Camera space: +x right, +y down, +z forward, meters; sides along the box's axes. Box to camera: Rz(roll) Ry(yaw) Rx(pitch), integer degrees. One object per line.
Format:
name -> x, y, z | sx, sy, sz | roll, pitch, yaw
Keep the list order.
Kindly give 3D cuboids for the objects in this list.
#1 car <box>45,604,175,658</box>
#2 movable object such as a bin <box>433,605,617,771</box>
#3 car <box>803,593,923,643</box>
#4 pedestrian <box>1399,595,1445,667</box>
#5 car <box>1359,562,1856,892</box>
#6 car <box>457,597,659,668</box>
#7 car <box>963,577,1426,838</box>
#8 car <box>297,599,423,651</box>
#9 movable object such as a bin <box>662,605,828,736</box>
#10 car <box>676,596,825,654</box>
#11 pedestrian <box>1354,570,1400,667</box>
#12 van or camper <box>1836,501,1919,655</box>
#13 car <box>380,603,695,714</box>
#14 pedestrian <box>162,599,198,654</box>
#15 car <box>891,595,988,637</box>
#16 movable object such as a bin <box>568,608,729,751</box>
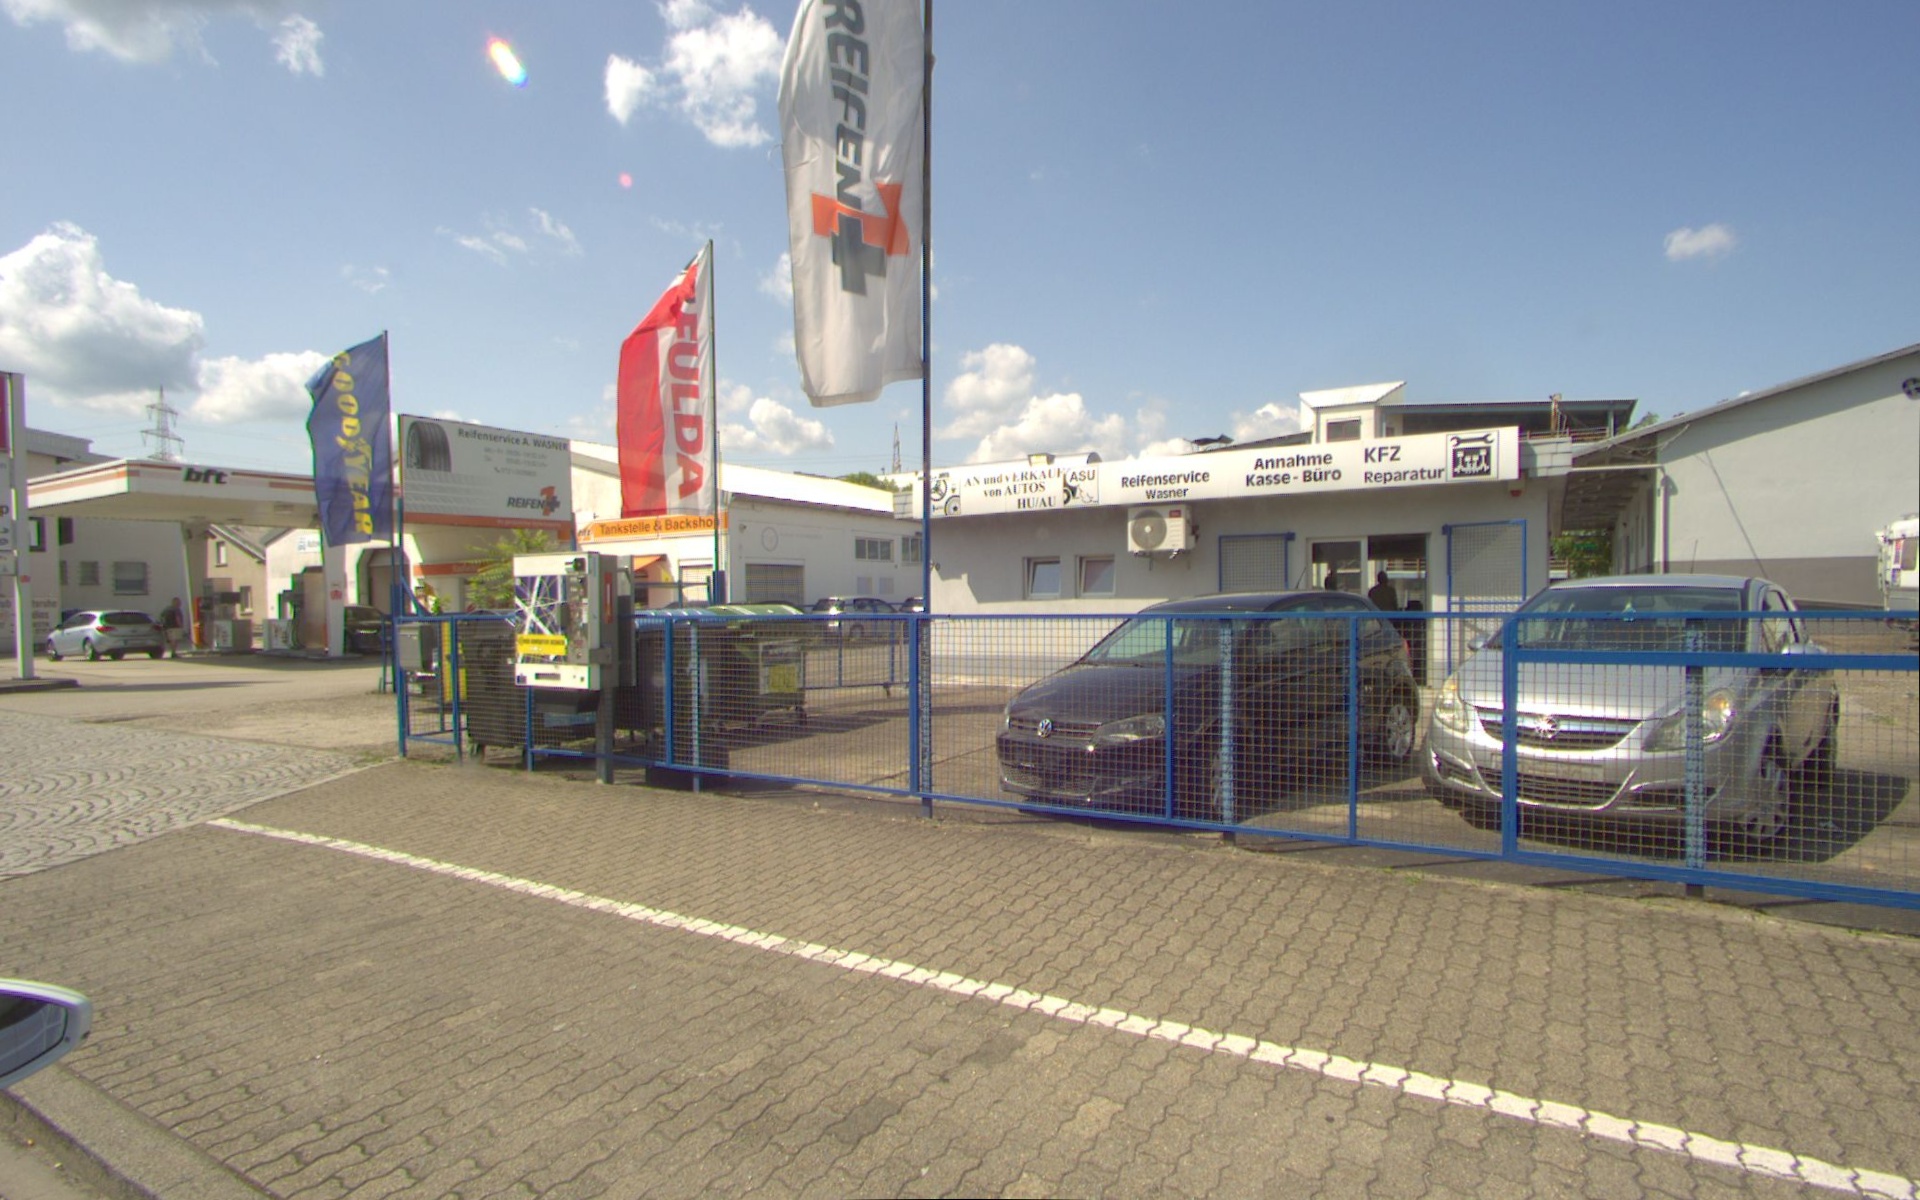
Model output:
car -> -25.736, 0.899, 30.308 | 3.776, 1.523, 1.803 | -1, 0, 30
movable object such as a bin -> -4.162, 0.783, 9.606 | 1.225, 1.455, 1.106 | 0, 1, 31
car -> -3.014, 0.525, 32.049 | 1.564, 1.482, 4.187 | 0, 0, 33
pedestrian -> 8.045, 0.530, 17.436 | 0.654, 1.225, 0.563 | 0, 1, 34
car -> 4.269, 0.557, 6.378 | 3.729, 1.472, 1.757 | -1, 0, -42
car -> -9.165, 0.686, 23.163 | 1.564, 1.482, 4.187 | 0, 0, 33
car -> 1.906, 0.598, 7.487 | 3.655, 1.472, 1.625 | -1, 0, -43
car -> -18.885, 0.761, 31.505 | 3.777, 1.523, 1.803 | -1, 0, 31
movable object such as a bin -> -2.535, 0.779, 11.901 | 1.318, 1.414, 1.400 | 0, 1, 31
car -> -5.718, 0.639, 27.819 | 1.564, 1.482, 4.187 | 0, 0, 33
pedestrian -> 7.351, 0.316, 17.643 | 0.654, 1.671, 0.563 | 0, 1, 34
van or camper -> 21.014, -0.457, 19.525 | 5.571, 3.005, 2.264 | 0, 1, 31
car -> -6.368, 0.790, 15.551 | 1.653, 1.434, 4.256 | 0, 0, 37
pedestrian -> -23.775, 0.799, 30.518 | 0.698, 1.679, 0.546 | -1, 1, -22
car -> -0.659, 0.532, 35.702 | 1.564, 1.385, 3.860 | 0, 0, 33
movable object such as a bin -> -3.329, 0.799, 10.737 | 1.225, 1.415, 1.106 | 0, 1, 31
